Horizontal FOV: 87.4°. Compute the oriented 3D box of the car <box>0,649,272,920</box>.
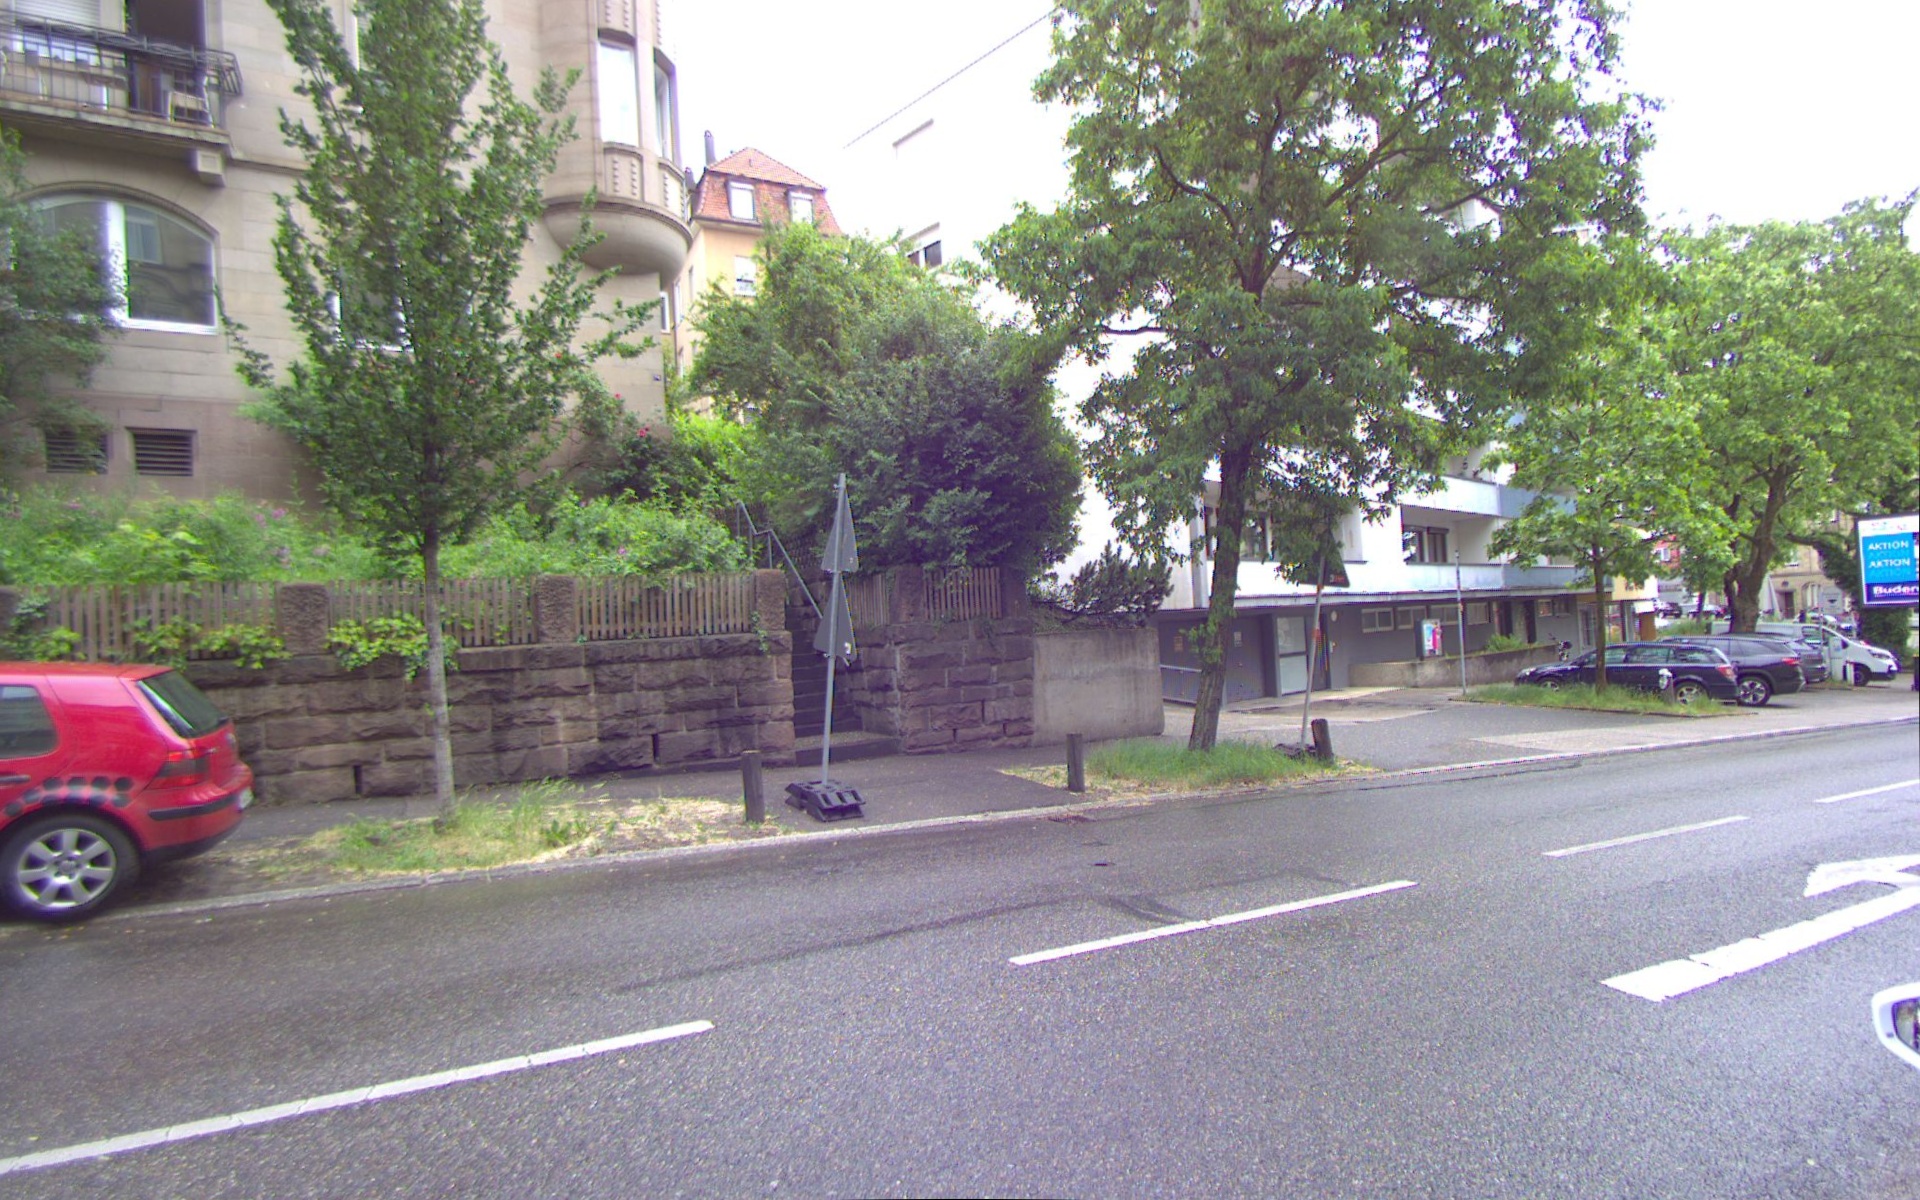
[{"bbox_3d":[-6.527,1.050,5.833,4.015,1.470,1.606,1,-2,-30],"label":"car"}]

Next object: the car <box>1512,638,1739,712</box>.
[{"bbox_3d":[15.672,1.745,23.766,4.303,1.594,1.935,-3,-4,38],"label":"car"}]

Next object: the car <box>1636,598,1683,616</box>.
[{"bbox_3d":[68.769,0.647,98.841,1.694,1.711,3.999,2,0,-2],"label":"car"}]

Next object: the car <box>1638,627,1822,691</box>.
[{"bbox_3d":[23.346,1.744,30.574,4.305,1.807,1.931,-2,-3,40],"label":"car"}]

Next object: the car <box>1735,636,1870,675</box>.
[{"bbox_3d":[32.787,2.127,39.207,3.925,1.469,1.761,-2,-3,40],"label":"car"}]

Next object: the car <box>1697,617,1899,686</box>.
[{"bbox_3d":[27.703,1.678,33.425,5.000,2.132,1.983,-2,-3,40],"label":"car"}]

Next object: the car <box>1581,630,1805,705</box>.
[{"bbox_3d":[18.101,1.664,24.979,4.312,1.694,1.848,-3,-4,38],"label":"car"}]

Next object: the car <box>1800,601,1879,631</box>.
[{"bbox_3d":[65.410,1.212,74.801,1.965,2.040,3.992,0,-3,-13],"label":"car"}]

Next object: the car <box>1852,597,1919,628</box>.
[{"bbox_3d":[69.285,0.903,74.766,1.961,2.130,4.291,-1,1,-1],"label":"car"}]

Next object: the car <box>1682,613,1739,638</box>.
[{"bbox_3d":[68.757,2.322,92.152,1.961,2.130,4.291,-1,1,-1],"label":"car"}]

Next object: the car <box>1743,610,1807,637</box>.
[{"bbox_3d":[69.437,1.982,85.649,1.961,2.130,4.291,-1,1,-1],"label":"car"}]
